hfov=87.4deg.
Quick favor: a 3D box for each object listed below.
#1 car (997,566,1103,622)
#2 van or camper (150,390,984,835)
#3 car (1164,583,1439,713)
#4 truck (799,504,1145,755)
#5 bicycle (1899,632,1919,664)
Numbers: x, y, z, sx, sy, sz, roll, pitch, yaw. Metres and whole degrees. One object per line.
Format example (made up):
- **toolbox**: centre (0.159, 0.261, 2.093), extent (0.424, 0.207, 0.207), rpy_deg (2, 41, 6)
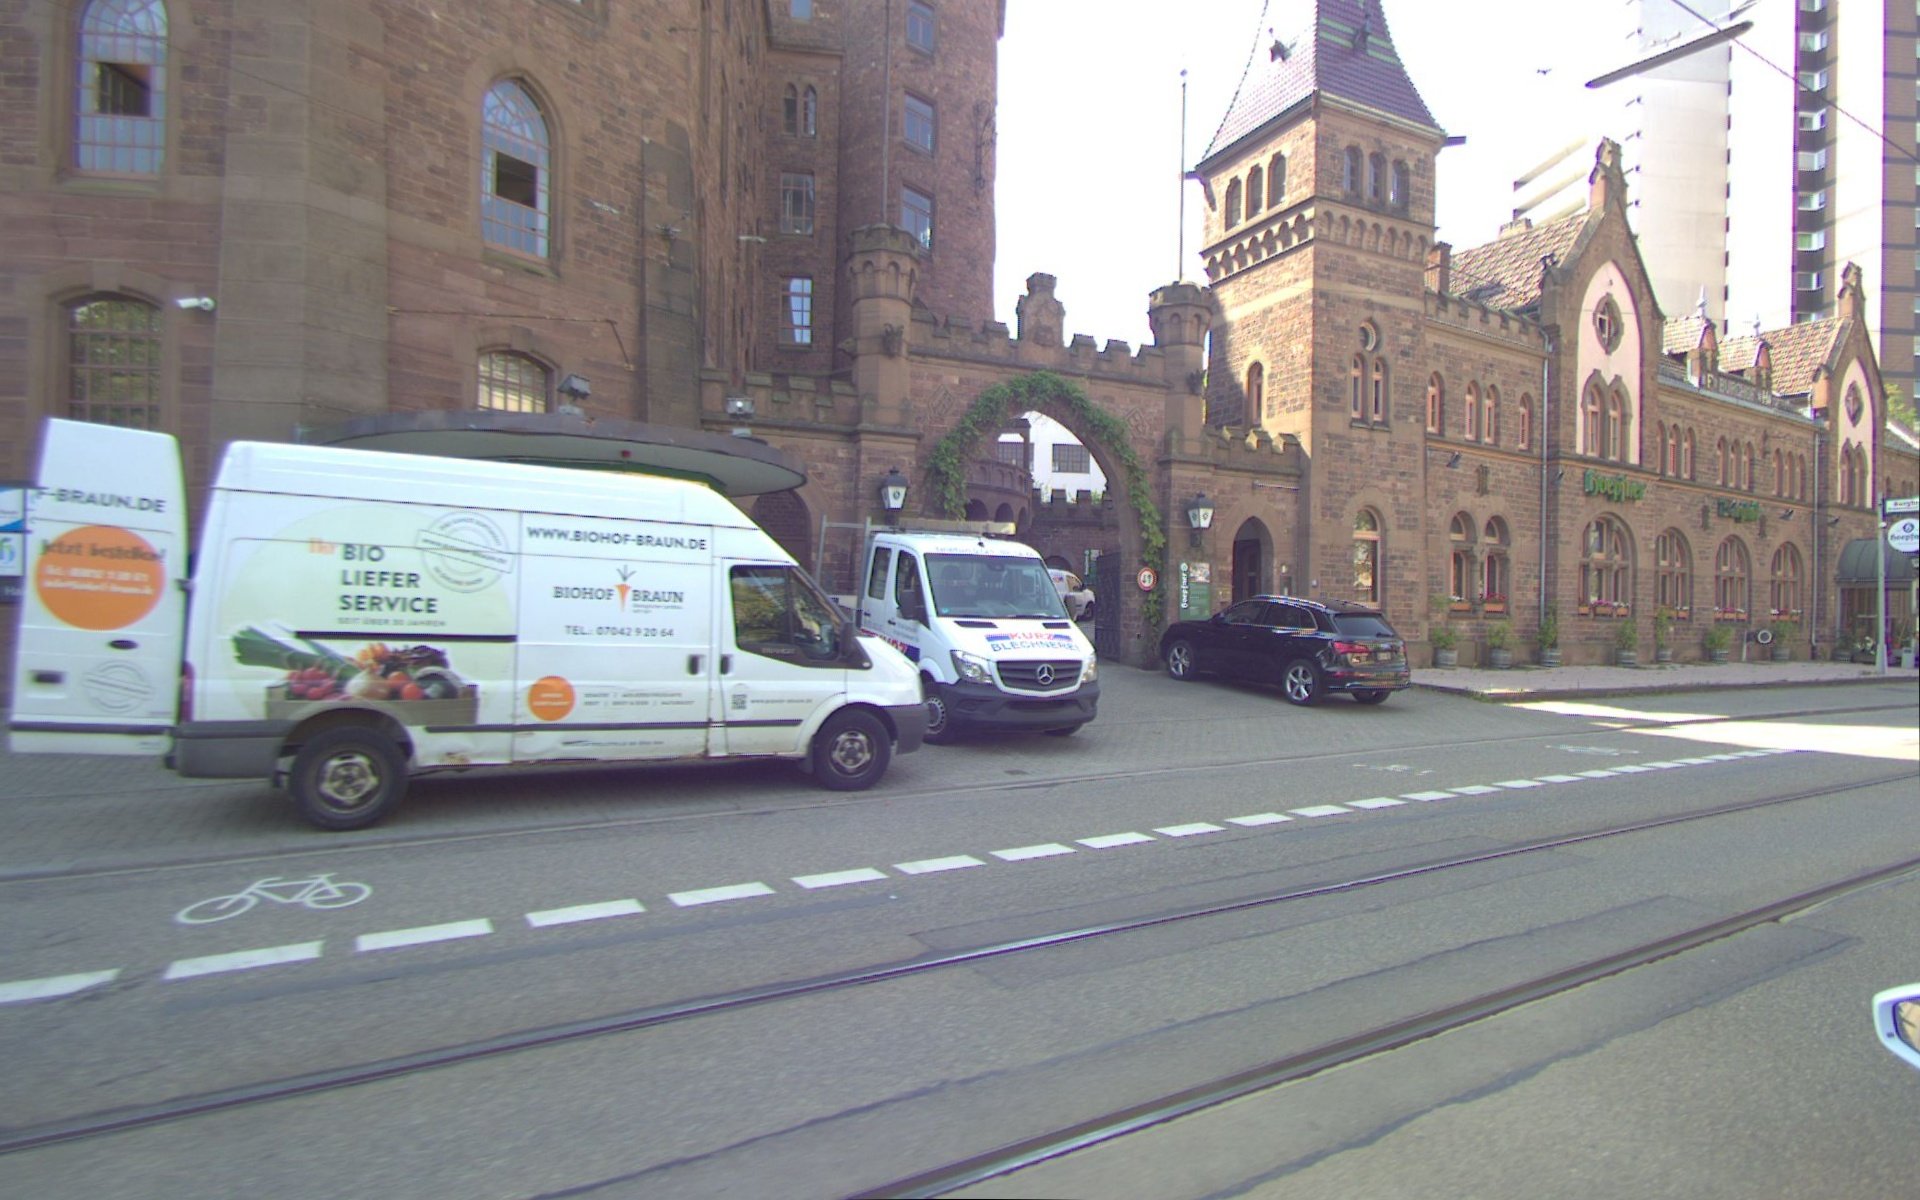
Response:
- **car**: centre (3.038, -0.165, 33.249), extent (1.592, 1.706, 3.985), rpy_deg (1, 0, 37)
- **van or camper**: centre (-2.862, 0.142, 8.504), extent (5.884, 2.711, 2.103), rpy_deg (2, 0, -30)
- **car**: centre (5.645, 0.701, 17.126), extent (1.976, 1.767, 4.116), rpy_deg (1, 2, -30)
- **truck**: centre (-0.261, 0.150, 13.582), extent (2.102, 2.573, 6.299), rpy_deg (0, 3, -25)
- **bicycle**: centre (35.386, 1.794, 36.706), extent (0.395, 1.108, 1.441), rpy_deg (1, 3, -34)
